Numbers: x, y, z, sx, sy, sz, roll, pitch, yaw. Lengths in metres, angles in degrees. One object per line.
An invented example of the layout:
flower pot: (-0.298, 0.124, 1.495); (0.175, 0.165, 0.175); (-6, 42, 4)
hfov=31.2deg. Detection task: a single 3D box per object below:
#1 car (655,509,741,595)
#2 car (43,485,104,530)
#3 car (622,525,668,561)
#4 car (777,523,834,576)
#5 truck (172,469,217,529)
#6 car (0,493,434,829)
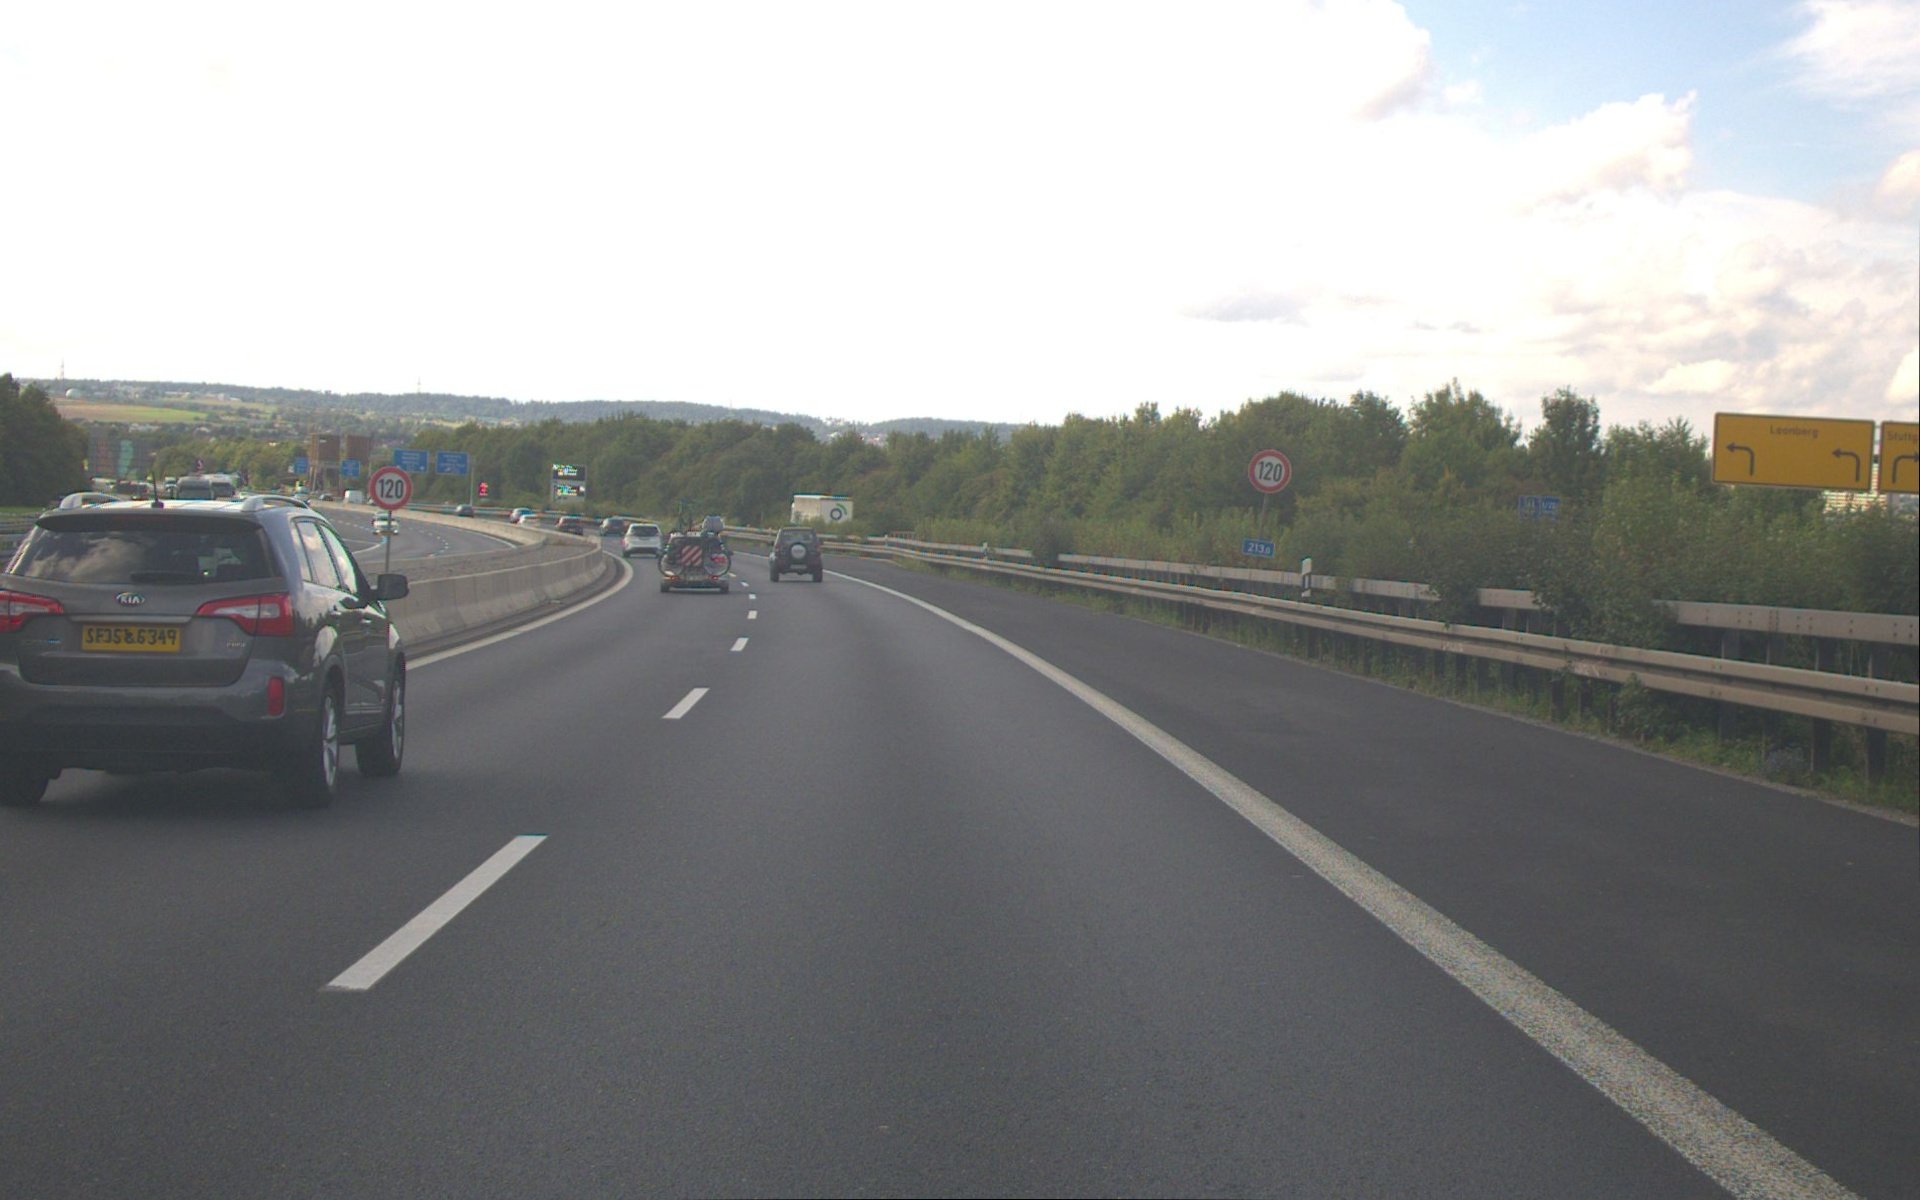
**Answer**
car: (-6.789, -1.275, 89.454); (2.030, 2.144, 4.001); (1, 2, -2)
car: (-41.145, -4.271, 159.662); (1.993, 2.007, 4.001); (1, 1, -4)
car: (-15.752, -2.839, 171.914); (1.993, 1.678, 4.001); (1, 0, -9)
car: (-4.922, -1.627, 109.347); (1.587, 1.591, 4.097); (1, 1, -5)
truck: (-50.613, -6.660, 227.428); (2.809, 3.813, 7.131); (1, 1, -12)
car: (-4.403, 0.274, 20.552); (1.817, 1.730, 5.187); (1, 1, -1)
